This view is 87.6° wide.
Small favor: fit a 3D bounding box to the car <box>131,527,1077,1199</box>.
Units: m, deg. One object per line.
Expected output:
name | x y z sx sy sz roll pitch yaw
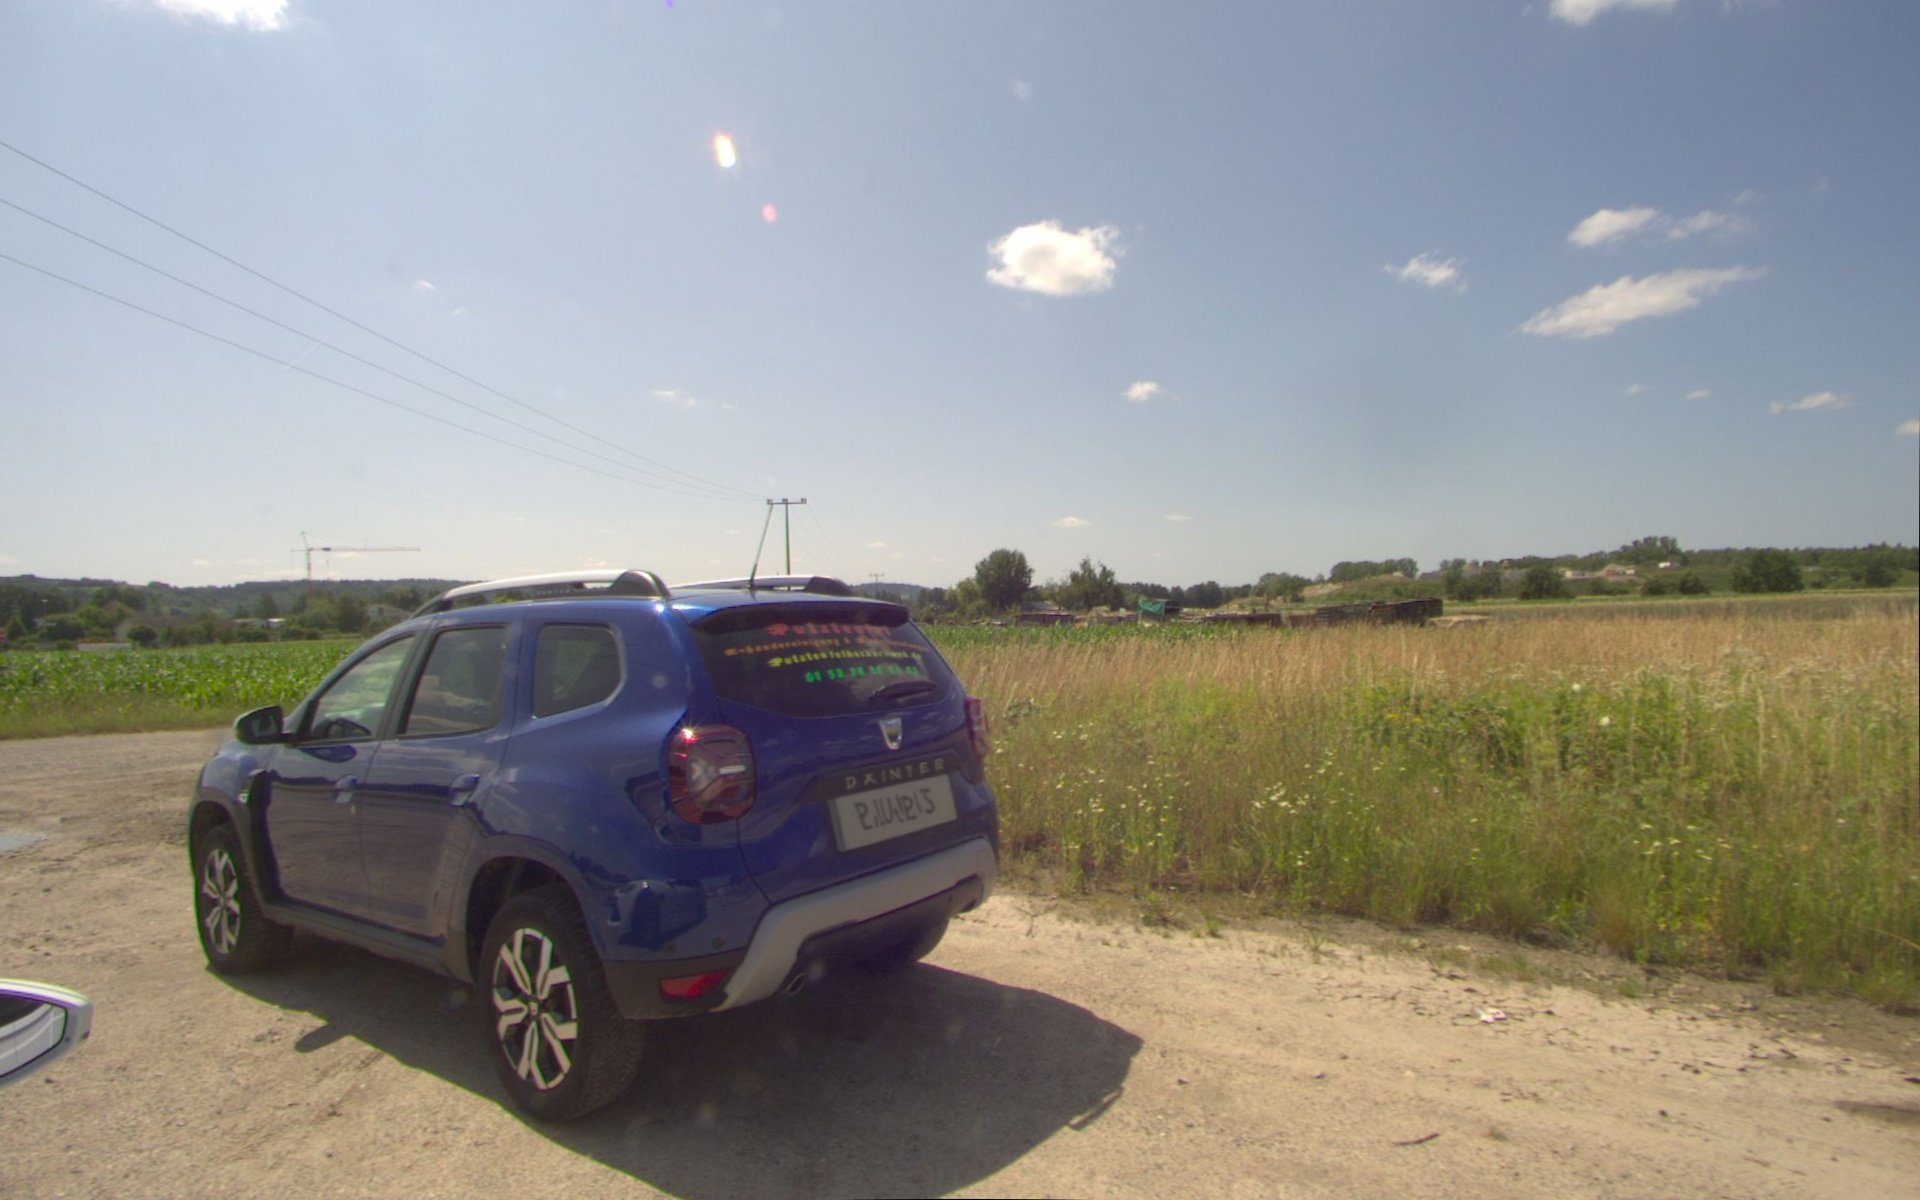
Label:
car | -1.869 0.773 4.491 4.402 1.682 1.852 -3 -2 37
